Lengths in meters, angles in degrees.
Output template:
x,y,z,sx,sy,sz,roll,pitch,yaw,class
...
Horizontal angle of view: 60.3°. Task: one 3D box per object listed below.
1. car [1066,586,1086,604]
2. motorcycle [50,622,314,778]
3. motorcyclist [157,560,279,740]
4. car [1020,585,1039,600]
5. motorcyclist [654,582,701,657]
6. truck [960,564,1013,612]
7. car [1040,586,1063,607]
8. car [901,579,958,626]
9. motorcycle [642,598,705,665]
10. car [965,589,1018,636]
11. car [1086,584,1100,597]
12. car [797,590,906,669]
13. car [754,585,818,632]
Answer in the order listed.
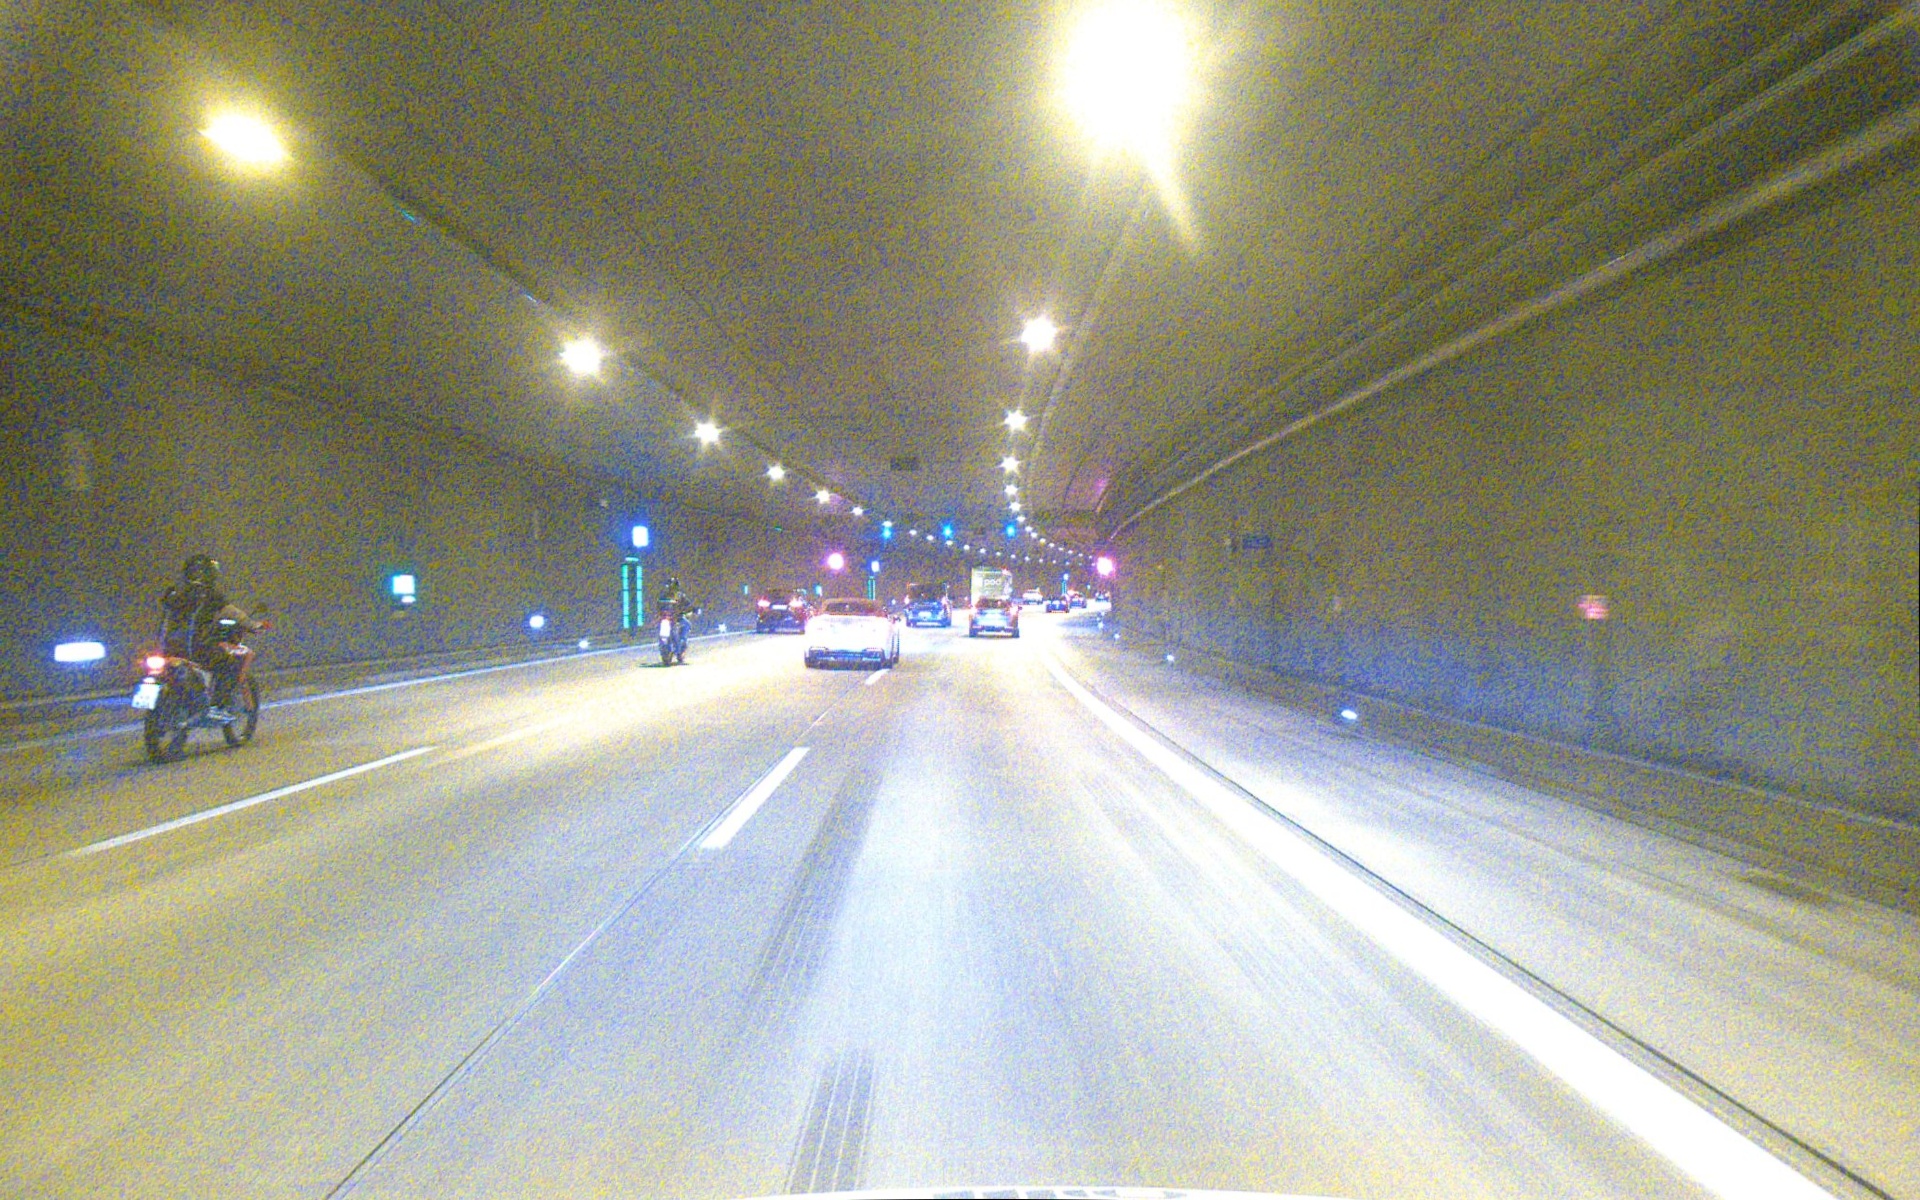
x,y,z,sx,sy,sz,roll,pitch,yaw,class
11.147,-0.477,158.701,1.819,1.695,4.002,-2,0,4,car
-6.582,0.798,14.193,1.031,1.177,2.428,0,0,3,motorcycle
-6.459,0.413,14.437,0.614,1.515,0.891,-1,1,2,motorcyclist
7.580,-0.828,180.842,1.792,1.646,4.003,-2,0,5,car
-5.756,0.389,33.753,0.822,1.503,0.821,1,1,-1,motorcyclist
2.008,-0.956,120.209,3.018,3.167,10.036,-3,1,5,truck
7.232,-0.296,130.797,1.805,1.595,4.002,-2,0,3,car
-1.328,0.091,74.293,1.951,2.006,4.003,1,1,7,car
-5.765,0.609,33.403,0.828,1.267,2.604,0,0,0,motorcycle
1.182,0.436,60.236,1.801,1.630,4.001,0,0,2,car
17.136,-1.231,213.034,1.795,1.720,4.003,-2,0,5,car
-2.191,0.571,34.414,1.952,1.509,4.000,-1,0,1,car
-6.163,0.276,58.878,1.748,1.626,3.802,0,0,2,car
